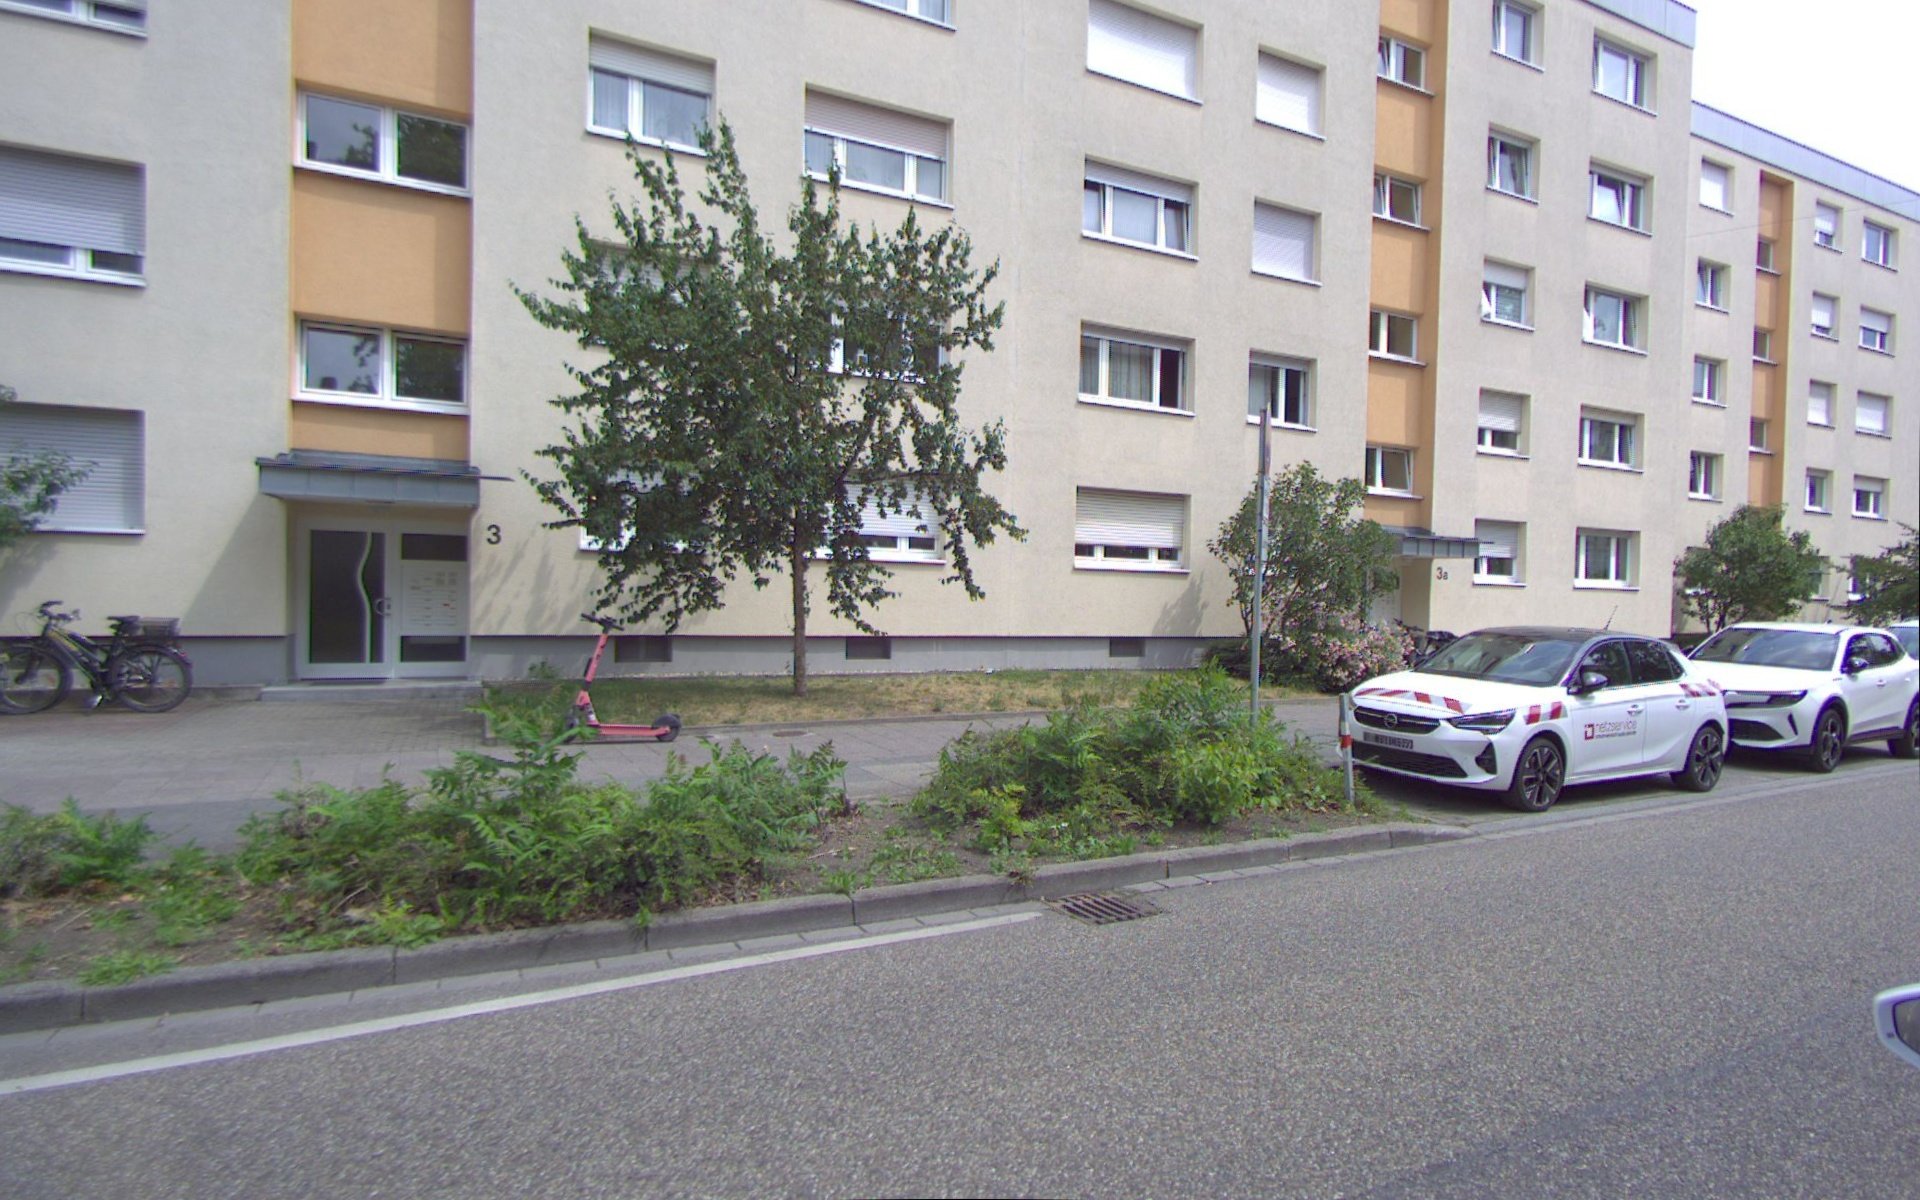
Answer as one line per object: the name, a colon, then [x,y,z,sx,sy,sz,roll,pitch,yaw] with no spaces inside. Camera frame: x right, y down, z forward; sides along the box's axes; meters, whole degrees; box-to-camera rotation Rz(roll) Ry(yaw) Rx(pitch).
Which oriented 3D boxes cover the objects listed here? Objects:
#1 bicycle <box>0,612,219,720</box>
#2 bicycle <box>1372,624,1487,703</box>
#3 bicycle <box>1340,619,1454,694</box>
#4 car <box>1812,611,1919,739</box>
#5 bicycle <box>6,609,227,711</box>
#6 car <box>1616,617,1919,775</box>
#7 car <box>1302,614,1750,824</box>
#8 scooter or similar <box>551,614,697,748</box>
bicycle: [-8.787,0.671,10.363,1.778,1.052,0.410,1,0,-21]
bicycle: [8.016,1.063,17.158,1.903,1.268,0.578,0,1,-19]
bicycle: [7.782,0.989,17.879,2.013,1.268,0.535,0,1,-19]
car: [14.519,1.046,14.588,4.420,1.634,1.690,1,2,-28]
bicycle: [-9.101,0.640,10.909,1.779,1.052,0.410,1,0,-23]
car: [9.684,1.002,11.834,3.944,1.493,1.699,1,2,-31]
car: [5.239,0.938,9.233,3.939,1.493,1.701,1,2,-28]
scooter or similar: [-3.192,0.762,9.587,1.269,1.209,0.401,1,2,-18]
